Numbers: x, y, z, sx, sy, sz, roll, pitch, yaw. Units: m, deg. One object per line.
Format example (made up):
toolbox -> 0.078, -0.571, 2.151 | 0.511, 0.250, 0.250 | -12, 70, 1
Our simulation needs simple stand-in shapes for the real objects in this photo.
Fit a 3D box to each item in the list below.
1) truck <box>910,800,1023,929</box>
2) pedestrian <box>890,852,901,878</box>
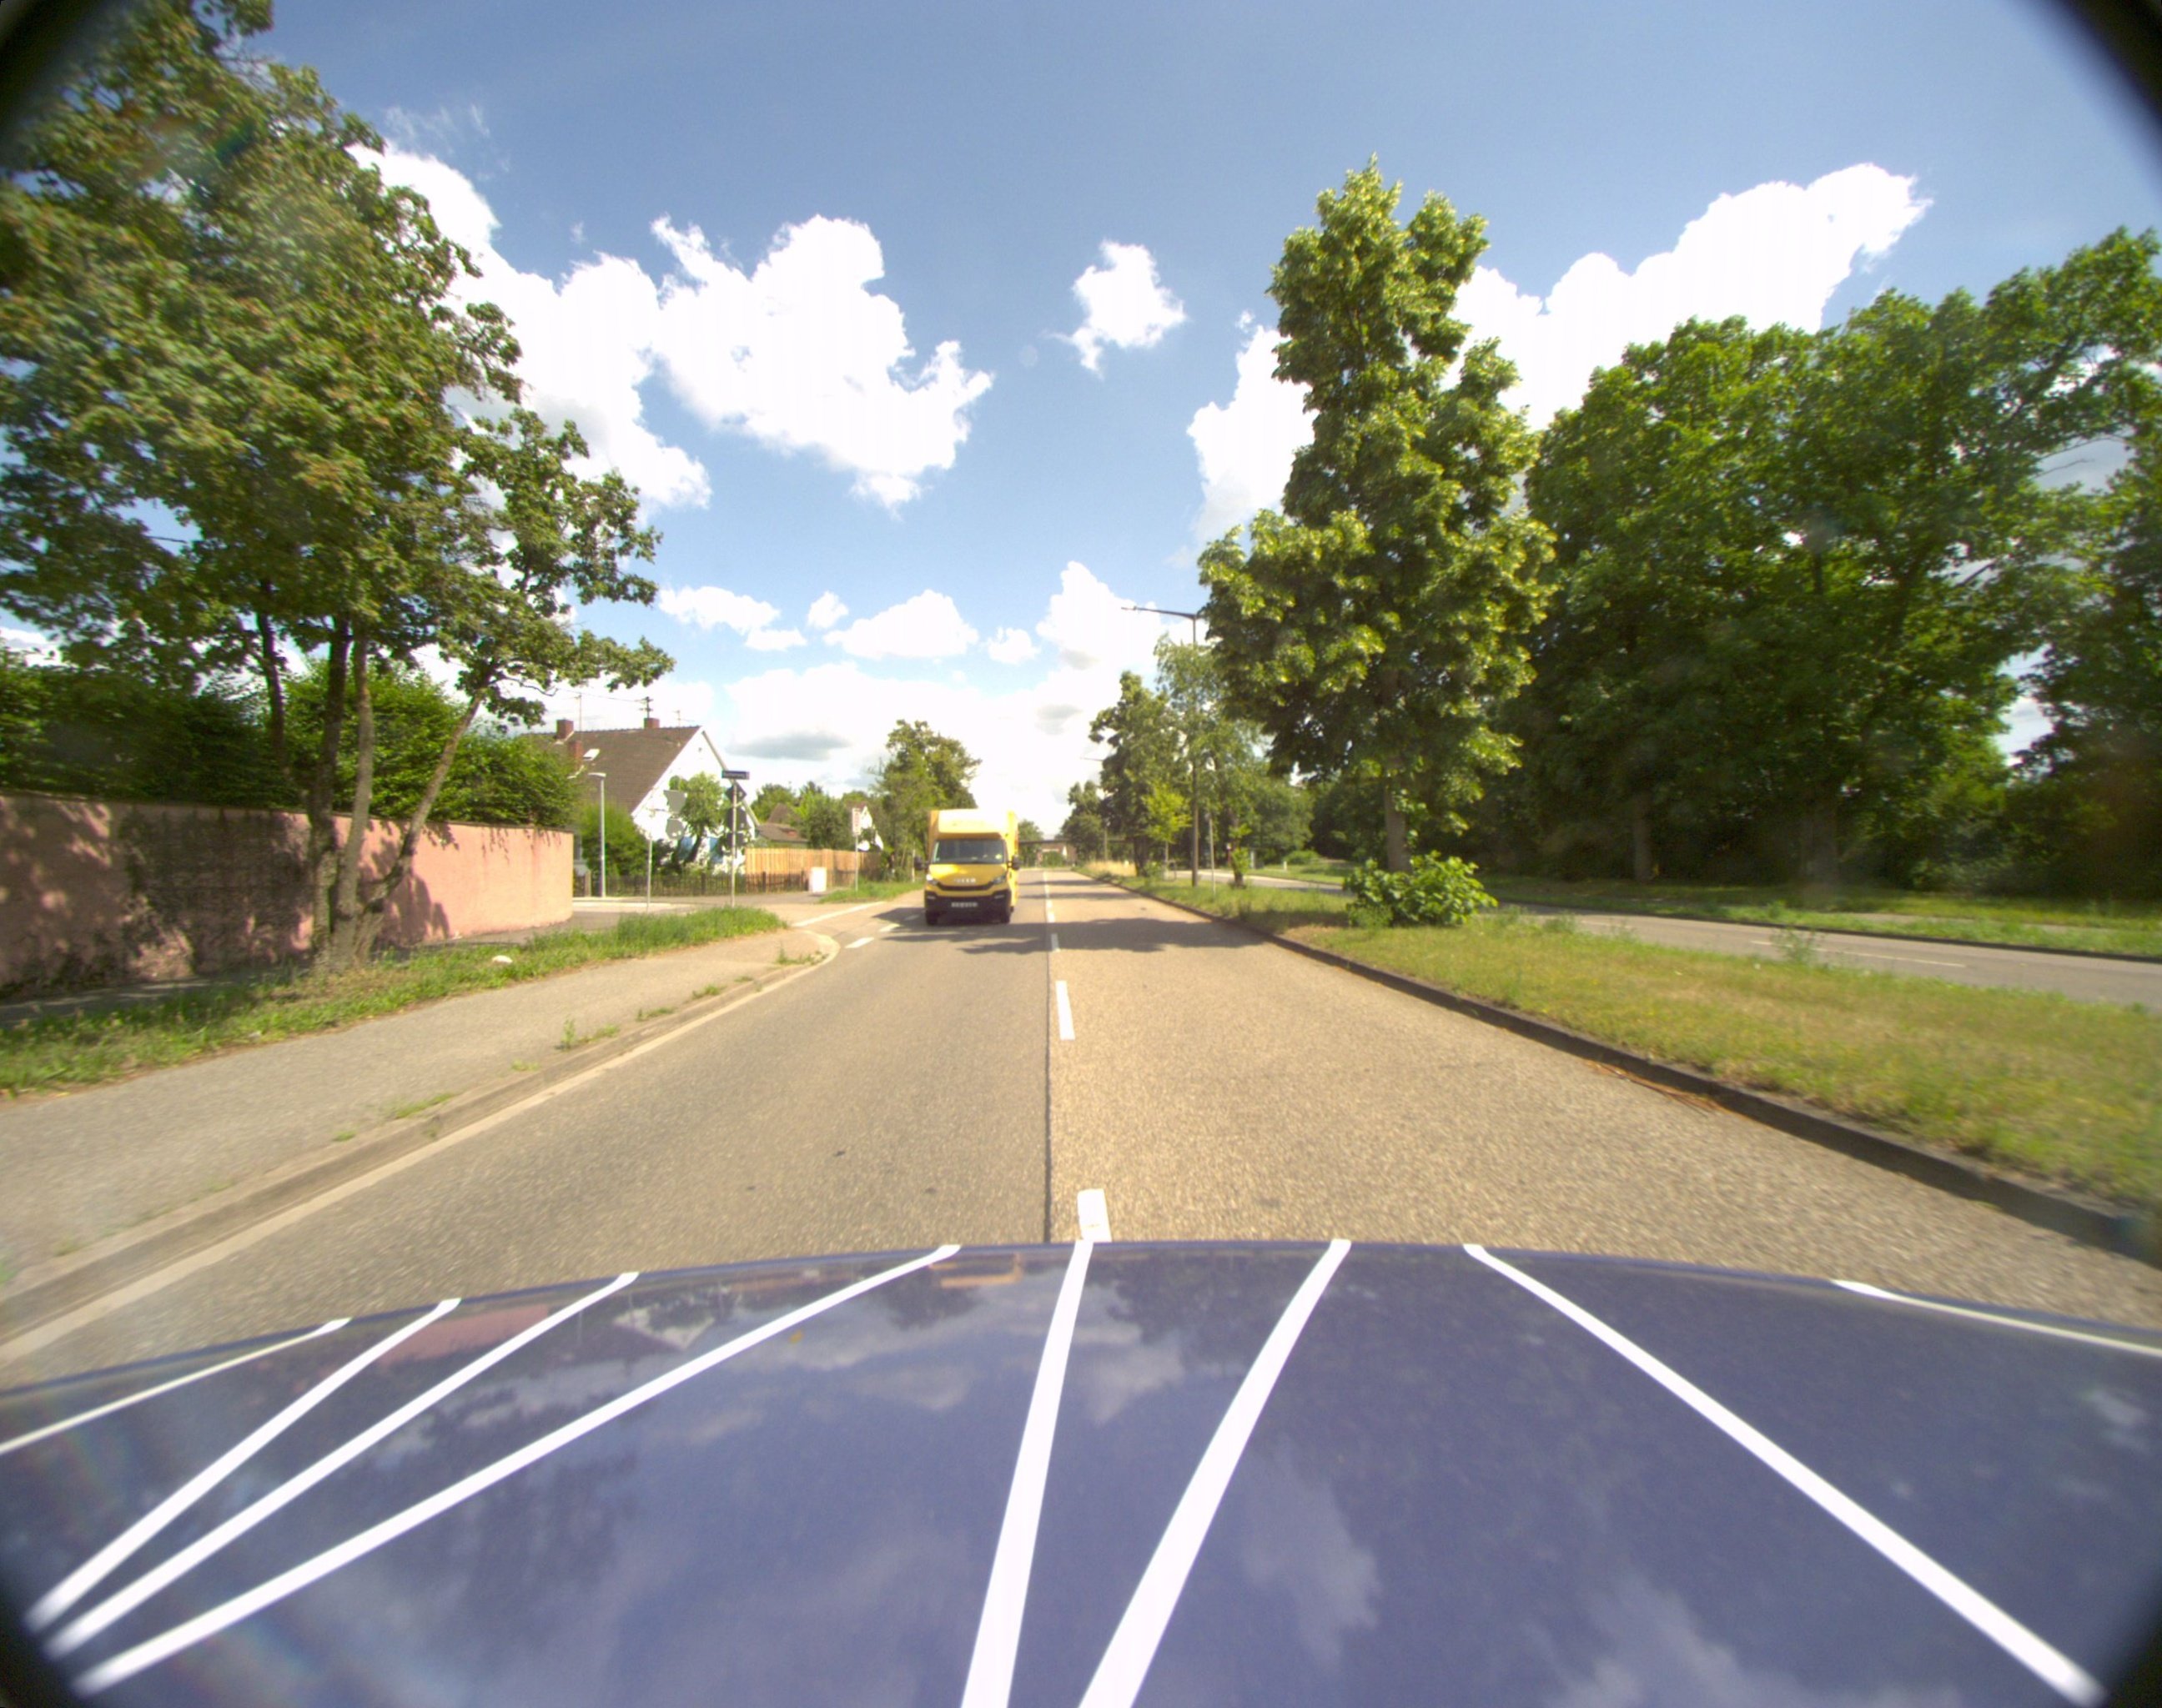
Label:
truck -> -2.895, 0.293, 21.222 | 2.271, 2.863, 8.026 | -2, -1, -3
pedestrian -> -12.071, 0.718, 49.401 | 0.561, 1.667, 0.634 | -1, 0, -3
